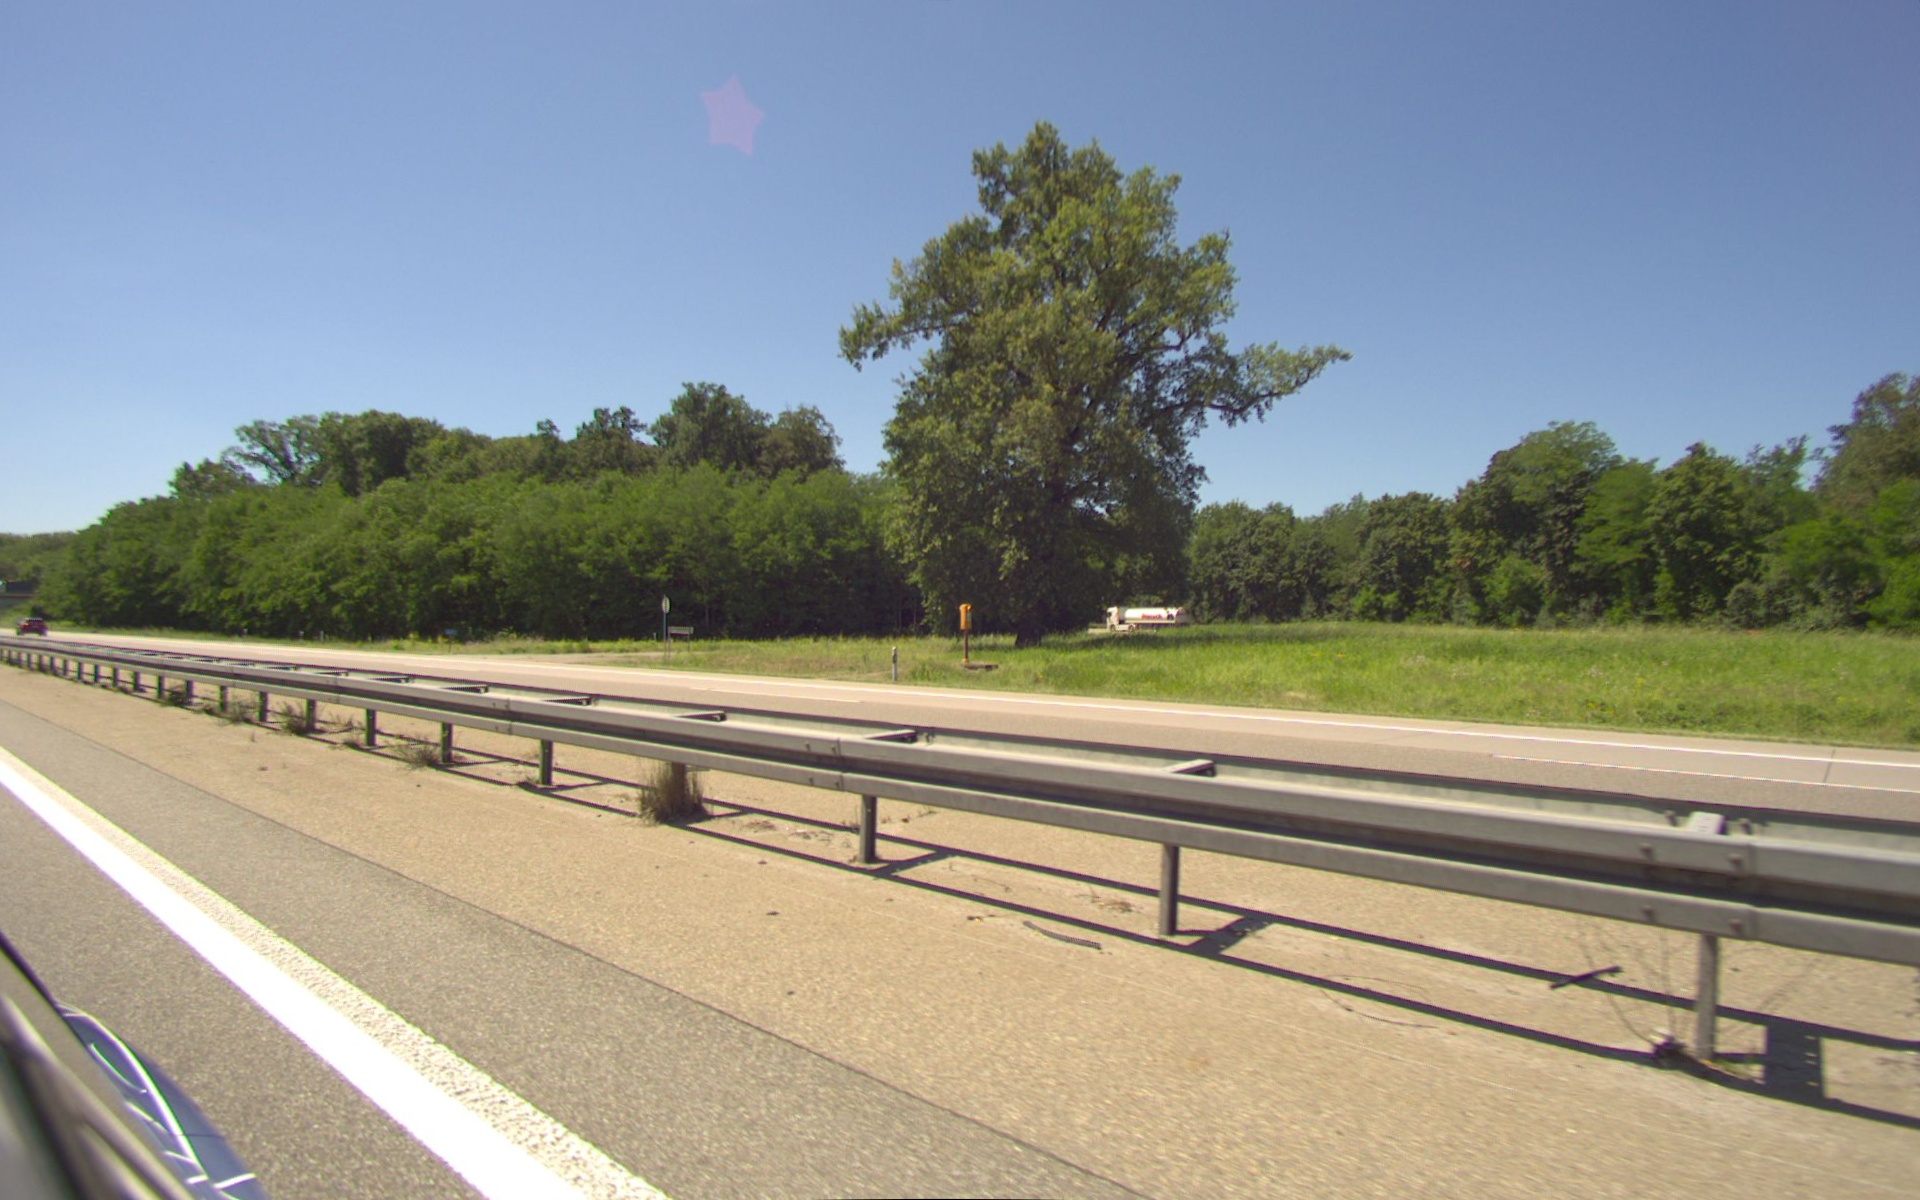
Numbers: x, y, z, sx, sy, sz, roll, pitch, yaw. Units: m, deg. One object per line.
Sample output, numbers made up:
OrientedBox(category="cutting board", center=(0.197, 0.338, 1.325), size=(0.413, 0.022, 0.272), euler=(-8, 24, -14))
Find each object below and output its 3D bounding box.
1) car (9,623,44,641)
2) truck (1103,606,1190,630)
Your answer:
OrientedBox(category="car", center=(-80.083, 2.714, 86.806), size=(4.073, 1.506, 1.744), euler=(-1, -3, 41))
OrientedBox(category="truck", center=(26.600, 2.547, 145.477), size=(2.662, 3.307, 14.819), euler=(-1, 0, -34))
